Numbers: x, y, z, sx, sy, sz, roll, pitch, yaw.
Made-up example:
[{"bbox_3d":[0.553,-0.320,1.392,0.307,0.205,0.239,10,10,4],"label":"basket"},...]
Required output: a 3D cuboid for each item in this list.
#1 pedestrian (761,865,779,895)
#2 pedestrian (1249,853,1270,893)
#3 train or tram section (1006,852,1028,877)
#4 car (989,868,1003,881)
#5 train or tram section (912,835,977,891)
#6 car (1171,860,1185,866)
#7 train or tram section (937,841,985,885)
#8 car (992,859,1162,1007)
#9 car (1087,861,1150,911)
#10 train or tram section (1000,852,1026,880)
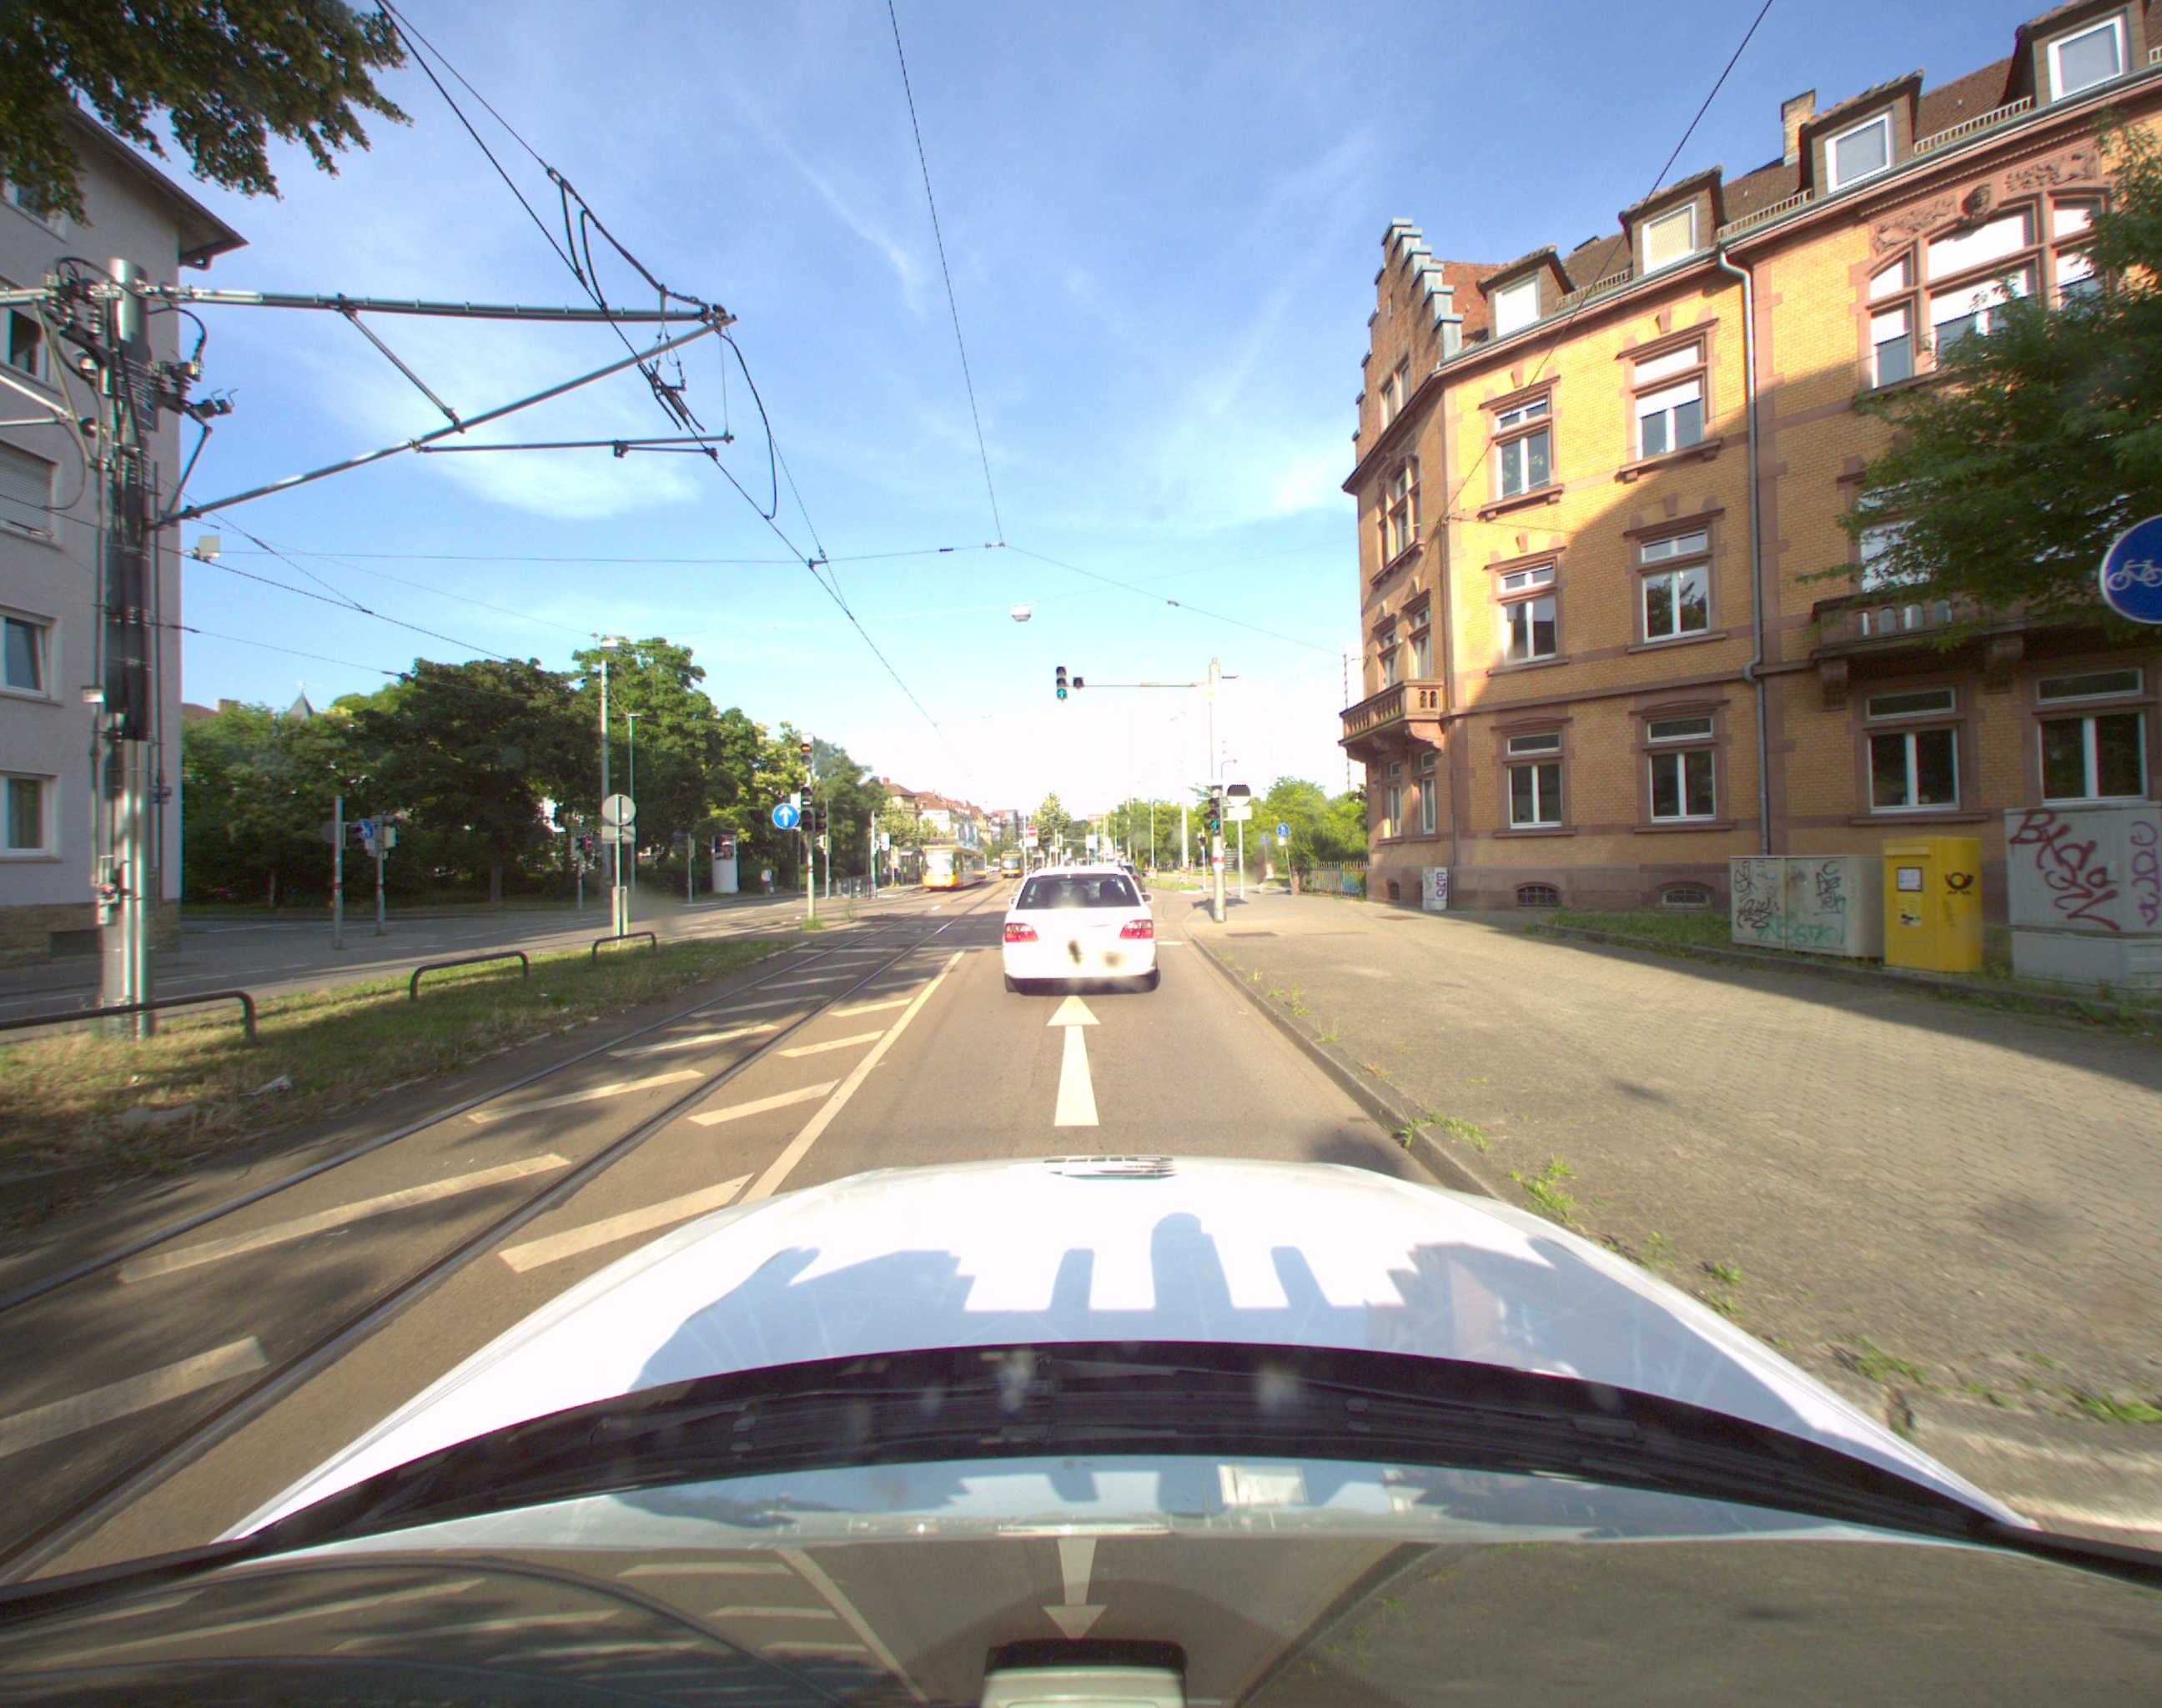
[{"bbox_3d":[-19.796,1.655,51.848,1.004,1.909,0.704,0,-1,-16],"label":"pedestrian"},{"bbox_3d":[7.966,0.834,36.357,0.613,1.692,0.548,-6,-1,0],"label":"pedestrian"},{"bbox_3d":[-9.360,1.472,119.482,2.843,3.479,13.184,0,0,-3],"label":"train or tram section"},{"bbox_3d":[-19.506,4.704,187.227,2.590,2.735,7.461,0,-1,-2],"label":"car"},{"bbox_3d":[-9.354,0.616,57.489,3.156,3.479,14.509,0,0,-4],"label":"train or tram section"},{"bbox_3d":[28.839,2.582,242.042,3.961,1.651,2.006,-2,-1,10],"label":"car"},{"bbox_3d":[-10.401,0.741,72.017,3.156,3.479,14.448,0,0,-4],"label":"train or tram section"},{"bbox_3d":[-0.070,0.846,10.562,1.753,1.503,3.998,-1,0,-1],"label":"car"},{"bbox_3d":[1.260,1.066,28.660,2.026,1.605,4.000,0,-1,1],"label":"car"},{"bbox_3d":[-8.750,1.543,106.416,2.842,3.479,13.187,0,0,-2],"label":"train or tram section"}]
